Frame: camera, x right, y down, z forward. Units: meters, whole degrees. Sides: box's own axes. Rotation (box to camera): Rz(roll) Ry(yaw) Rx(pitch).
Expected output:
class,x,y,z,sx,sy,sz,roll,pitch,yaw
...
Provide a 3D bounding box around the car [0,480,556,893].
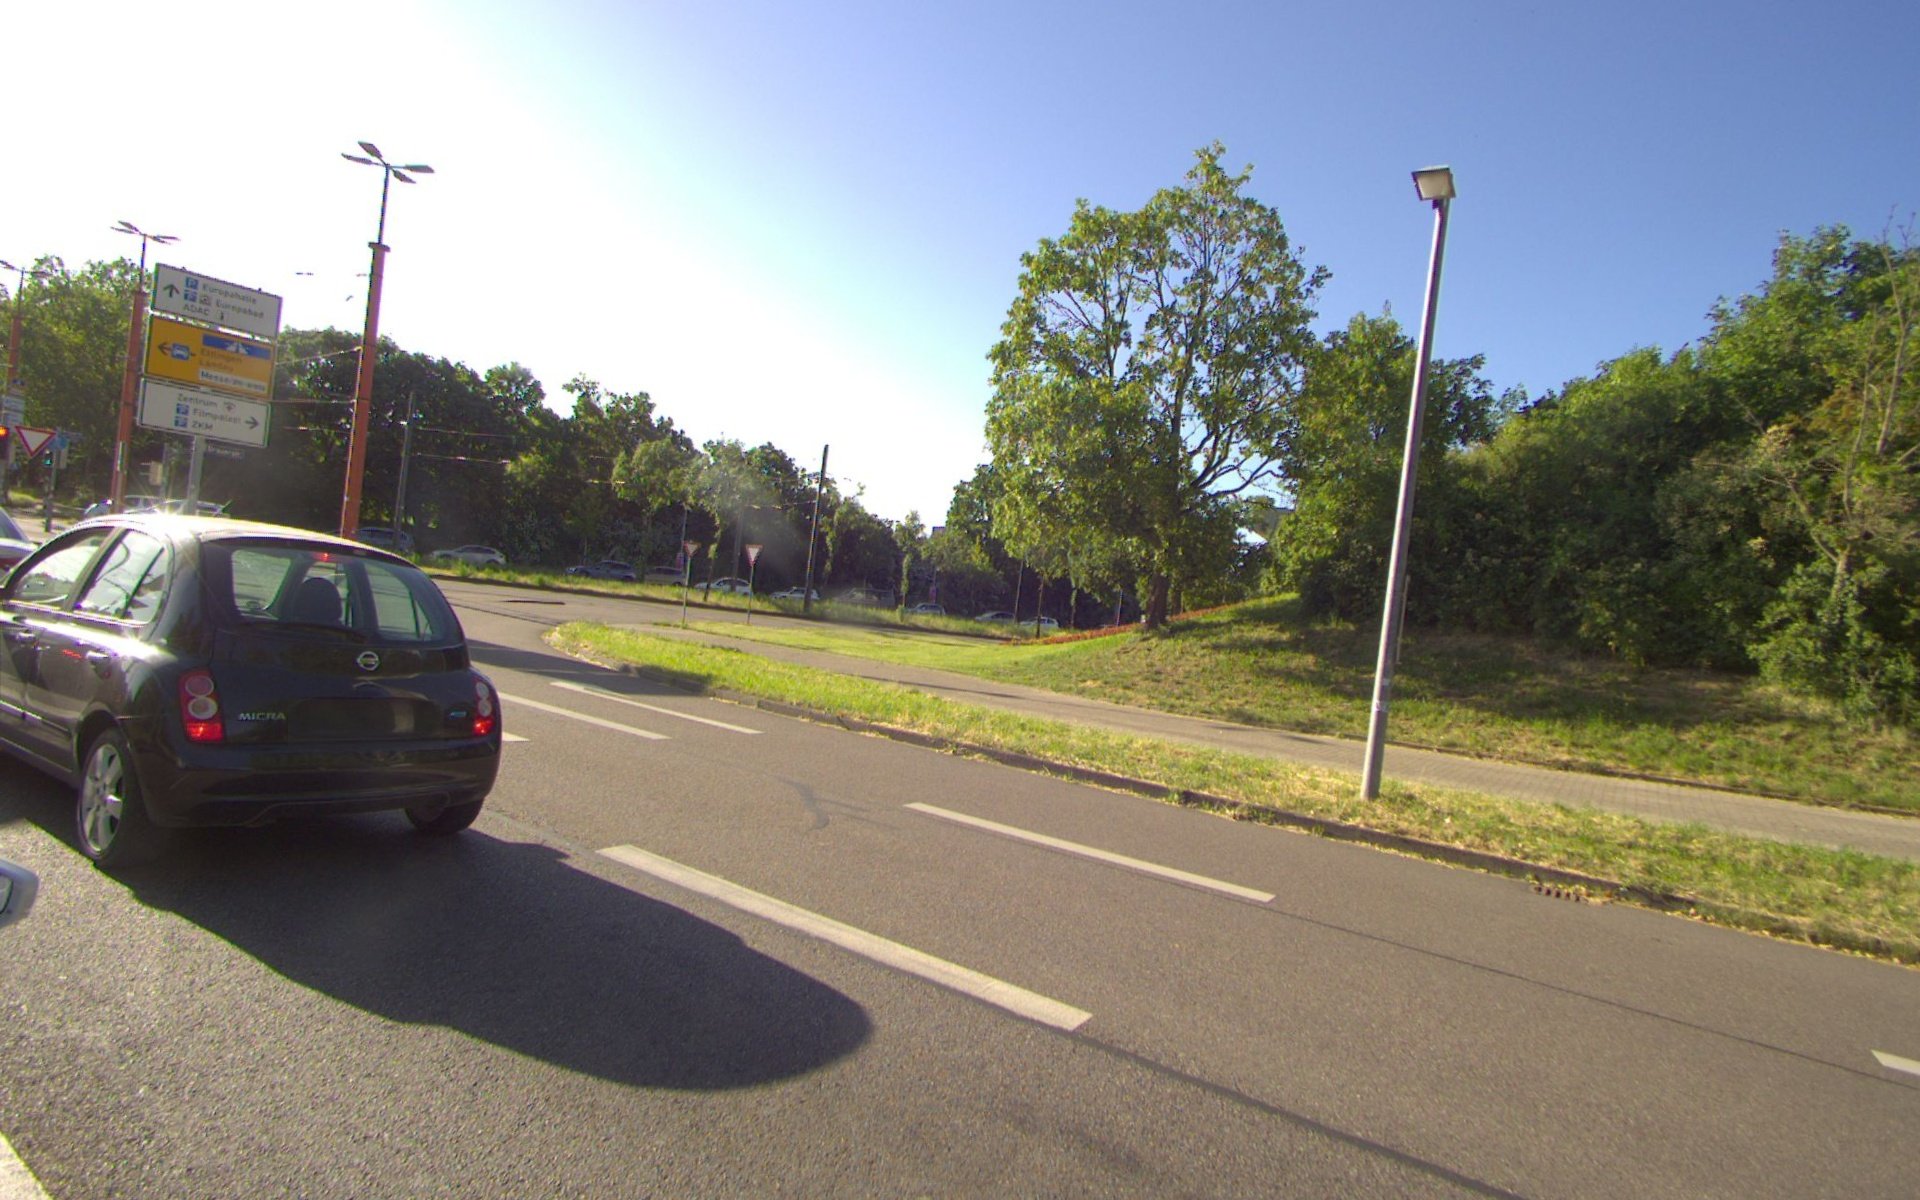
class,x,y,z,sx,sy,sz,roll,pitch,yaw
car,-4.129,0.278,5.522,3.555,1.518,1.656,7,-1,32

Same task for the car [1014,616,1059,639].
class,x,y,z,sx,sy,sz,roll,pitch,yaw
car,6.296,2.231,82.448,3.413,1.384,1.280,9,-2,-31

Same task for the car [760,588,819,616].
class,x,y,z,sx,sy,sz,roll,pitch,yaw
car,-12.137,0.168,71.550,3.708,1.491,1.588,8,-1,-31

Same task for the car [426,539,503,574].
class,x,y,z,sx,sy,sz,roll,pitch,yaw
car,-29.881,-2.604,60.660,3.937,1.457,1.674,9,-2,-31

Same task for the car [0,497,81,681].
class,x,y,z,sx,sy,sz,roll,pitch,yaw
car,-9.625,-0.331,8.842,4.130,1.454,1.723,7,-1,34

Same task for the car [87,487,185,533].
class,x,y,z,sx,sy,sz,roll,pitch,yaw
car,-43.162,-4.688,52.790,3.619,1.674,1.666,9,-2,-33

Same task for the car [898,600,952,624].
class,x,y,z,sx,sy,sz,roll,pitch,yaw
car,-2.693,0.936,77.632,3.804,1.278,1.590,9,-2,-32

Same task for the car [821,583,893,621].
class,x,y,z,sx,sy,sz,roll,pitch,yaw
car,-7.262,0.148,71.096,4.536,2.038,1.984,8,0,-30

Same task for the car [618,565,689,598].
class,x,y,z,sx,sy,sz,roll,pitch,yaw
car,-20.520,-1.225,67.400,4.088,1.663,1.839,8,-1,-29

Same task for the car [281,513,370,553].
class,x,y,z,sx,sy,sz,roll,pitch,yaw
car,-35.964,-3.779,57.152,4.095,1.528,1.808,9,-2,-32

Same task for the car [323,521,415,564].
class,x,y,z,sx,sy,sz,roll,pitch,yaw
car,-32.580,-3.135,55.525,4.151,1.663,1.746,9,-2,-32

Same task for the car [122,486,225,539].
class,x,y,z,sx,sy,sz,roll,pitch,yaw
car,-39.907,-4.403,51.158,3.812,1.911,1.747,9,-2,-35

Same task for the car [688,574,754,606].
class,x,y,z,sx,sy,sz,roll,pitch,yaw
car,-15.680,-0.640,65.995,3.790,1.541,1.682,8,-1,-30

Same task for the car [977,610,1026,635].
class,x,y,z,sx,sy,sz,roll,pitch,yaw
car,3.204,1.739,76.886,3.369,1.475,1.453,8,-1,-31

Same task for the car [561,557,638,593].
class,x,y,z,sx,sy,sz,roll,pitch,yaw
car,-22.172,-1.546,61.953,4.089,1.617,1.814,8,-1,-31
